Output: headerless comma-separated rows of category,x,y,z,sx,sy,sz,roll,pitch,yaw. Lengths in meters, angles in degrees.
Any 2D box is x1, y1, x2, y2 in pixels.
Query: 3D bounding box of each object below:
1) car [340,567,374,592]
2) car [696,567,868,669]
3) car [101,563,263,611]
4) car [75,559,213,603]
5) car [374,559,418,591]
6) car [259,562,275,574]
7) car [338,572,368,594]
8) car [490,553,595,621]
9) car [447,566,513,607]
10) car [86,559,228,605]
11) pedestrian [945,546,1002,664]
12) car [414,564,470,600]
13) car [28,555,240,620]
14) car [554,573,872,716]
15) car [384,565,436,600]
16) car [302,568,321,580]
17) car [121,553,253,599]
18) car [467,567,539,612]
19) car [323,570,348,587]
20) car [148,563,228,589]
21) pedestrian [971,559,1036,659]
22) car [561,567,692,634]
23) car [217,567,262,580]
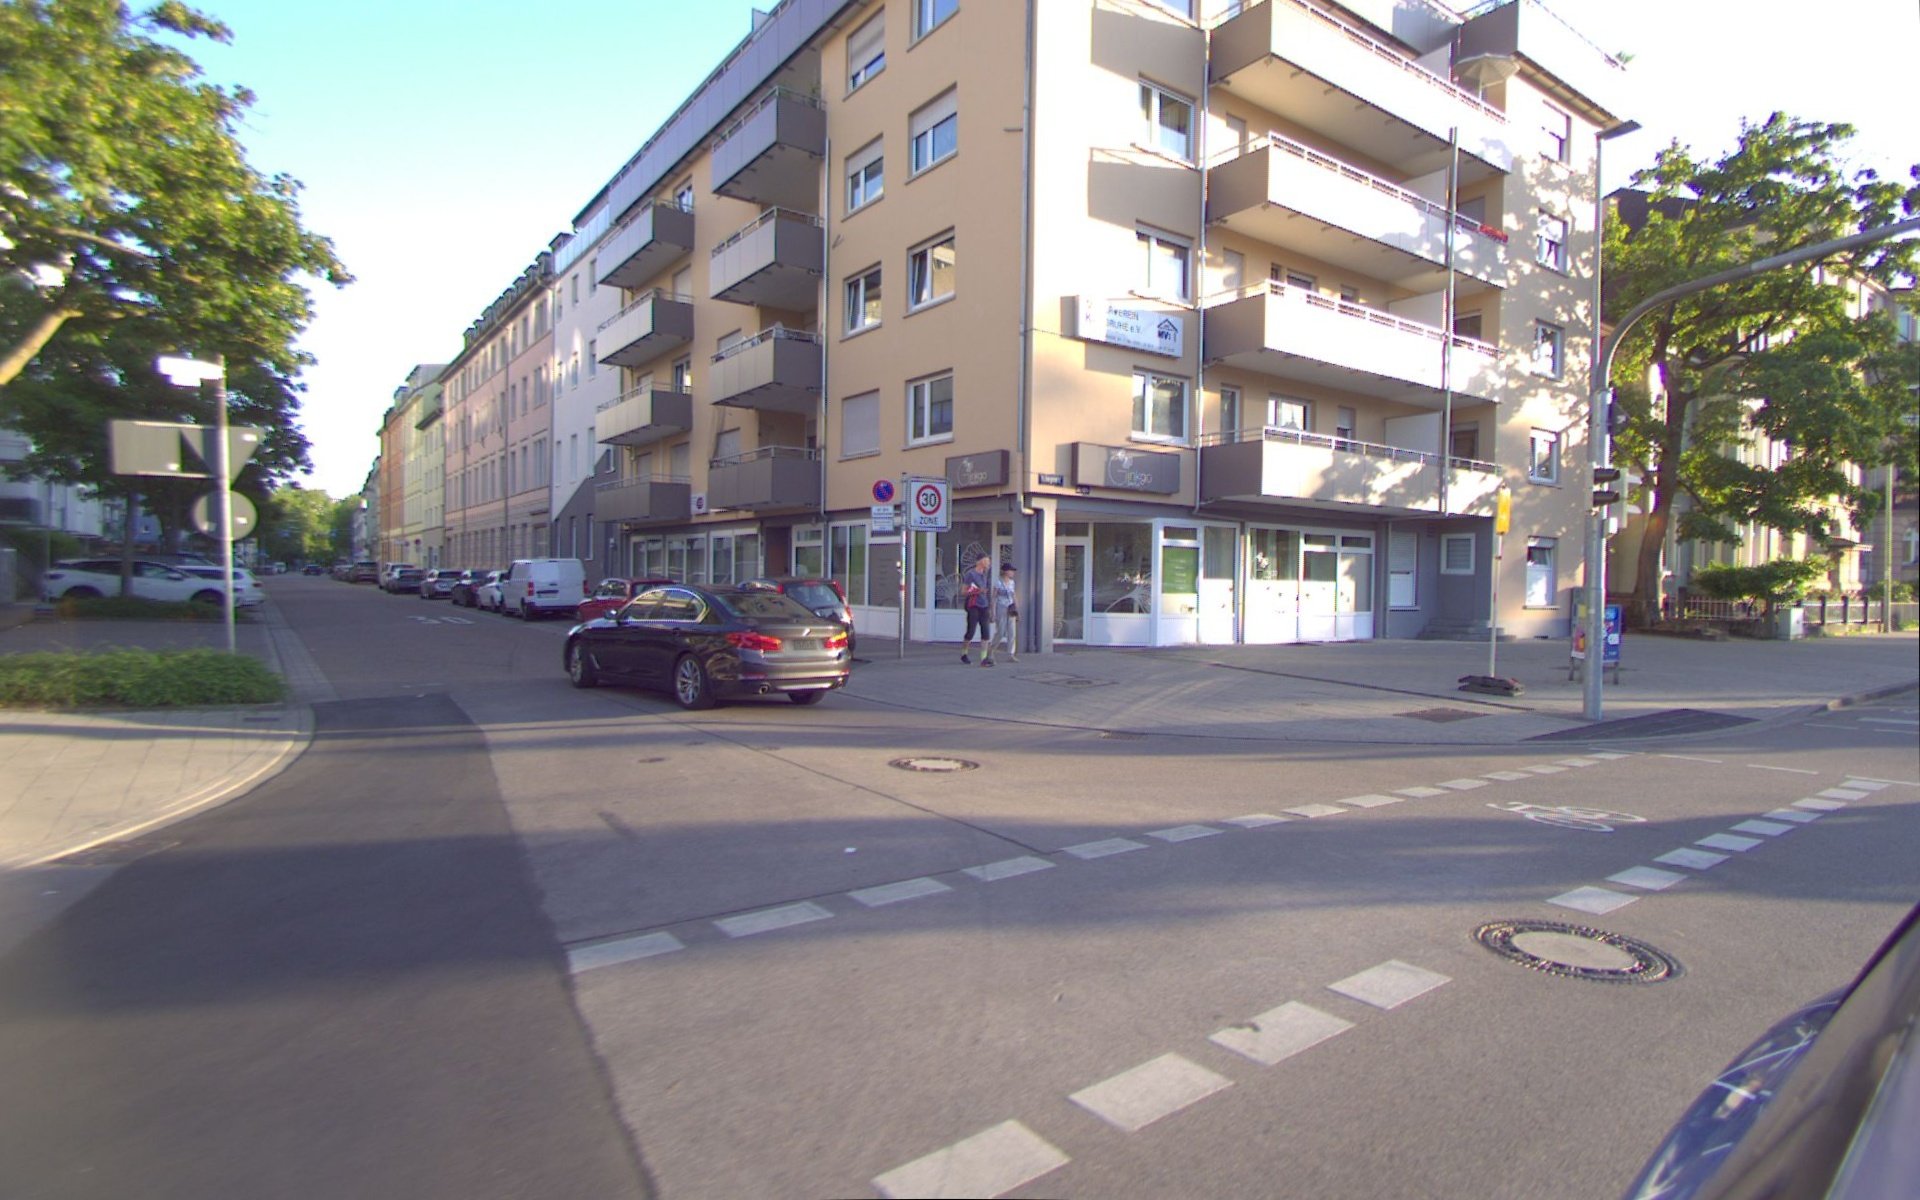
car,-48.619,-1.647,81.570,1.995,1.851,4.780,0,-1,-35
car,-3.342,0.224,18.459,1.585,1.578,3.817,-4,4,-35
car,-25.380,-0.408,33.106,4.105,1.479,1.751,0,-1,-40
car,-30.606,-0.683,38.097,3.955,1.555,1.641,0,-1,-37
car,-35.826,-1.560,64.201,1.995,1.851,4.780,0,-1,-35
car,-101.562,-4.616,148.309,1.995,1.542,4.399,0,-1,-35
car,-53.908,-1.505,89.834,1.995,1.851,4.780,0,-1,-35
car,-13.352,-0.471,32.197,1.964,1.886,4.539,-5,5,-36
car,-19.208,-0.585,40.422,1.576,1.504,4.249,-1,2,-36
car,-28.913,-0.622,36.617,3.955,1.555,1.641,0,-1,-37
pedestrian,0.216,0.063,16.668,0.534,1.882,0.840,-1,2,-35
car,-24.859,-0.831,48.531,1.704,1.575,4.196,0,-1,-37
car,-23.216,-0.339,28.704,4.537,1.714,1.753,0,-1,-35
car,-3.319,0.448,13.000,4.608,1.488,1.777,2,0,44
car,-31.301,-0.937,57.526,2.118,1.851,4.780,0,-1,-35
car,-88.496,-3.541,138.128,1.995,1.542,4.399,0,-1,-35
car,-31.543,-0.942,41.436,4.203,1.777,1.641,0,-1,-37
car,-16.624,-0.437,36.735,1.576,1.504,3.999,-1,2,-36
car,-63.985,-2.174,103.671,1.995,1.542,4.399,0,-1,-35
car,-42.575,-1.309,55.867,3.471,1.338,1.443,0,-1,-37
pedestrian,0.731,0.126,17.170,0.752,1.635,0.822,-1,2,-34
car,-8.447,-0.050,25.407,1.628,1.457,4.223,-5,4,-40
car,-95.811,-3.487,134.628,4.816,1.542,2.034,0,-1,-32
